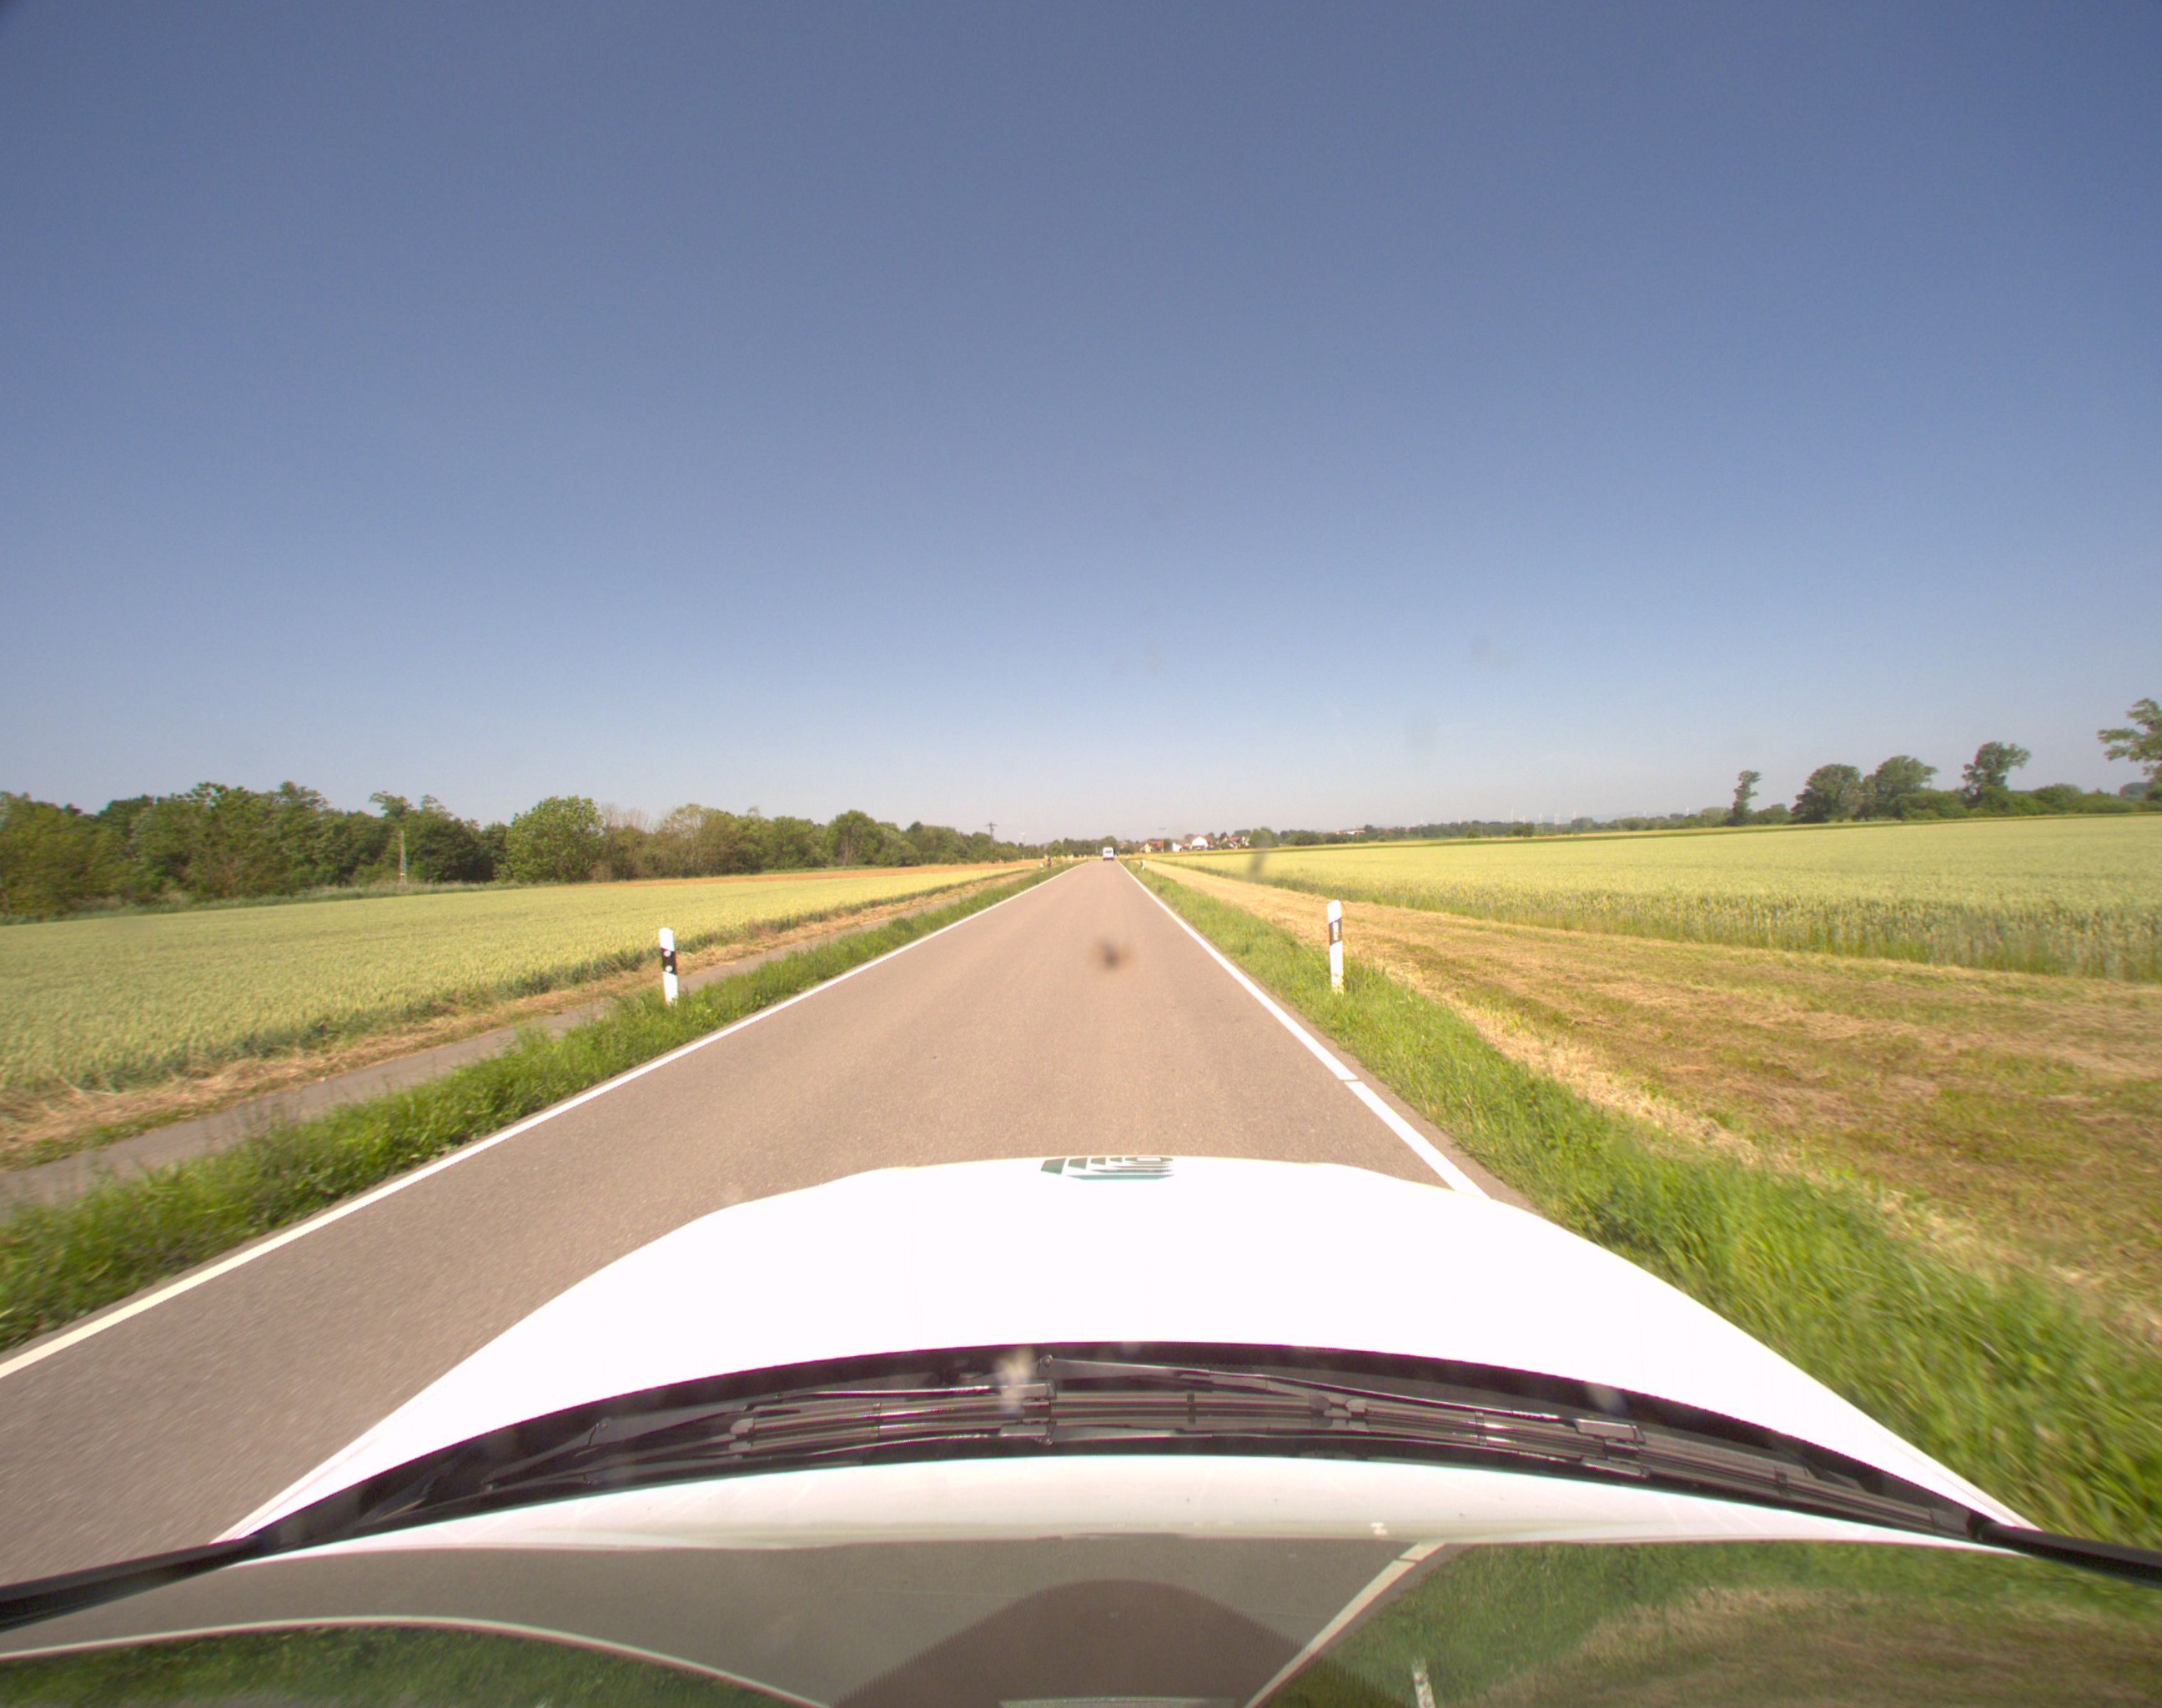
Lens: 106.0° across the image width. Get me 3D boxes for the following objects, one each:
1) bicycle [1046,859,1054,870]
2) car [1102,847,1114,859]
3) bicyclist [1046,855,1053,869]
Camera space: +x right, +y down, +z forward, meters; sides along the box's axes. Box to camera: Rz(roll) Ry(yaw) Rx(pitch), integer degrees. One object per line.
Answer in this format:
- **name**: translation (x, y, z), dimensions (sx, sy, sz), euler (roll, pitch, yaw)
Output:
- **bicycle**: translation (-3.994, 1.309, 103.609), dimensions (0.756, 1.236, 2.395), euler (-4, 0, 2)
- **car**: translation (5.204, -0.216, 157.282), dimensions (2.099, 2.304, 5.498), euler (-1, 0, 2)
- **bicyclist**: translation (-4.003, 1.051, 103.532), dimensions (0.757, 1.672, 1.089), euler (-4, 0, 2)
